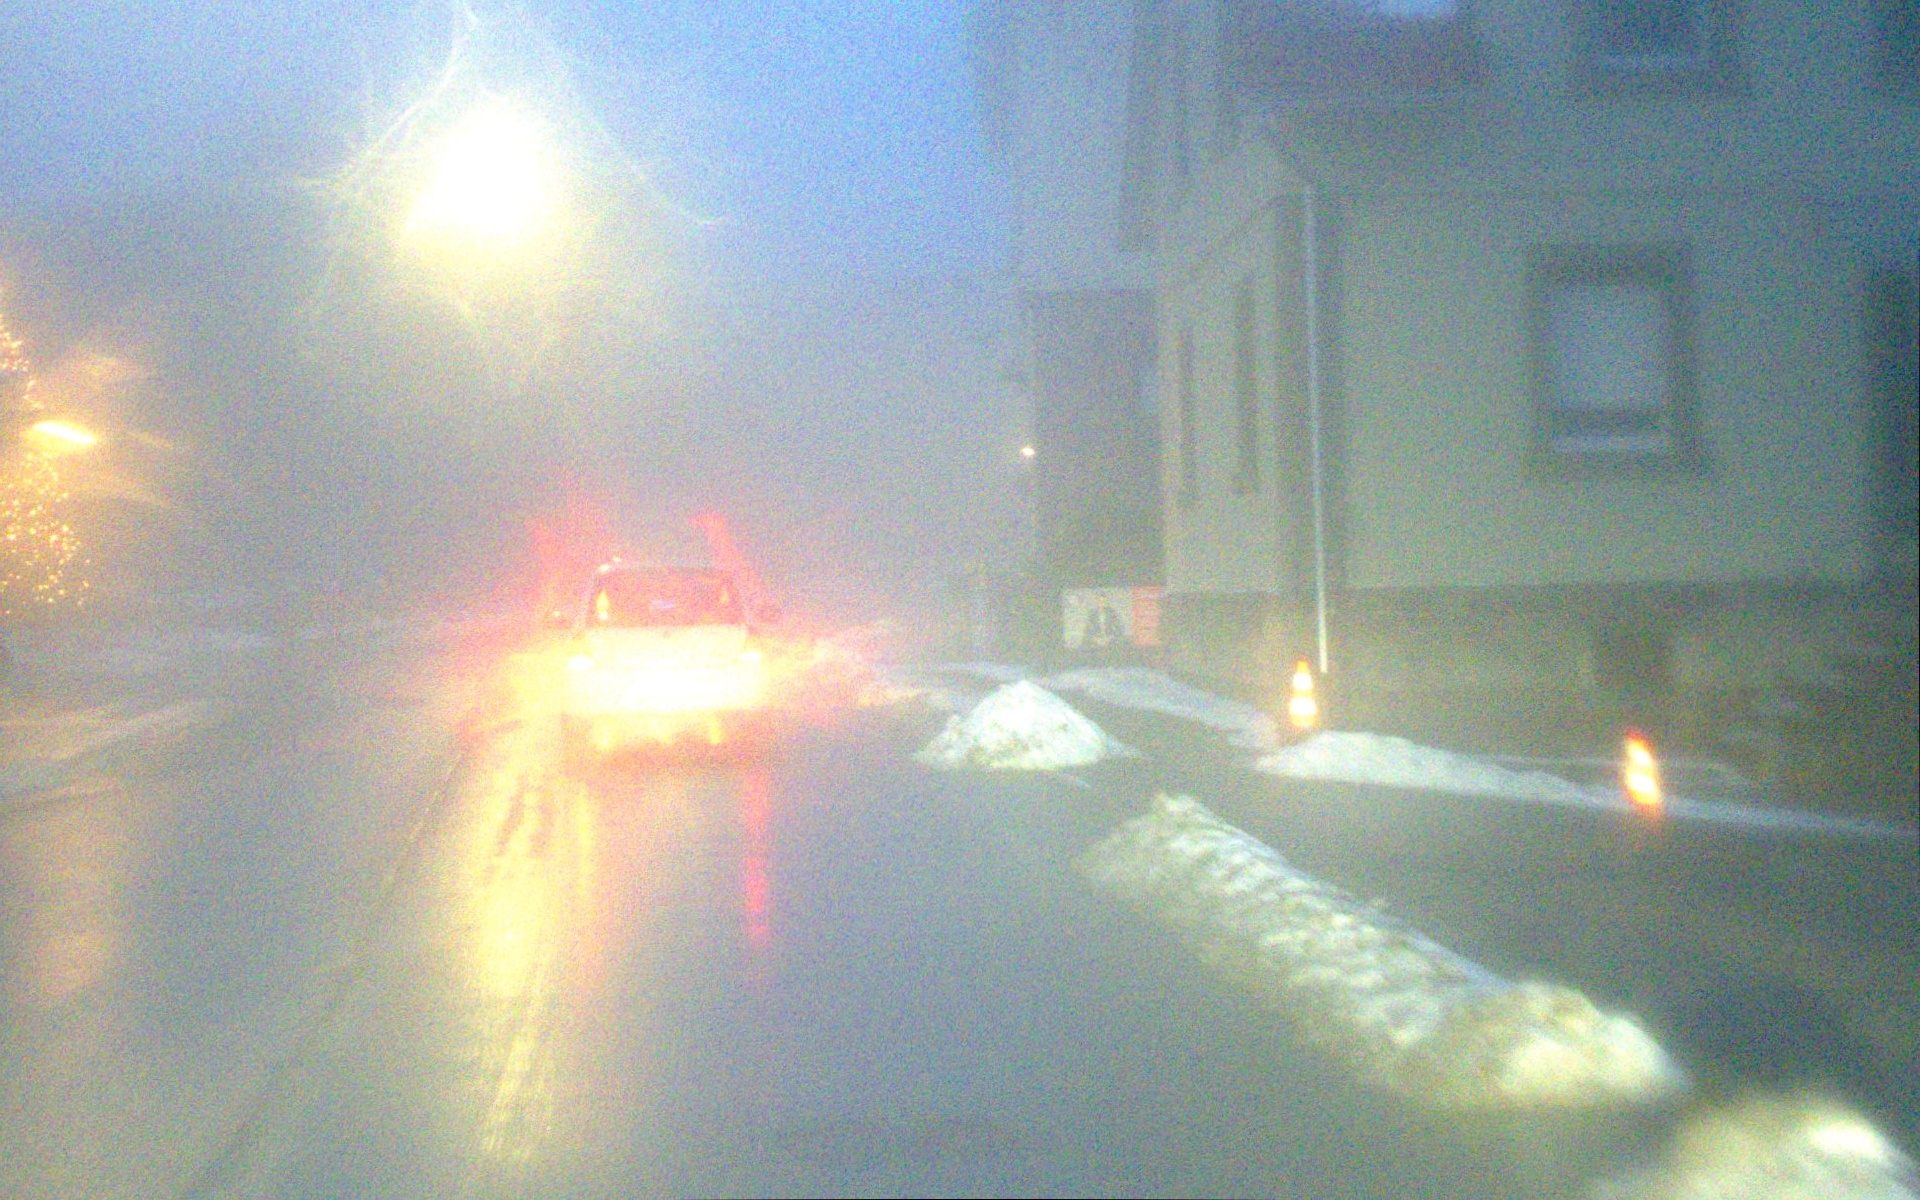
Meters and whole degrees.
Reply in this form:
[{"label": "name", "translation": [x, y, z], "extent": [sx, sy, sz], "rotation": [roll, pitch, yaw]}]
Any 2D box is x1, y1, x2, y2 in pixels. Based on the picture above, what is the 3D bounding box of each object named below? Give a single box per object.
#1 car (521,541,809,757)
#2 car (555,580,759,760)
[{"label": "car", "translation": [-2.244, 0.423, 27.155], "extent": [1.993, 1.503, 4.000], "rotation": [2, -2, -2]}, {"label": "car", "translation": [-3.634, 0.896, 41.871], "extent": [1.993, 2.007, 3.999], "rotation": [2, -2, 1]}]
